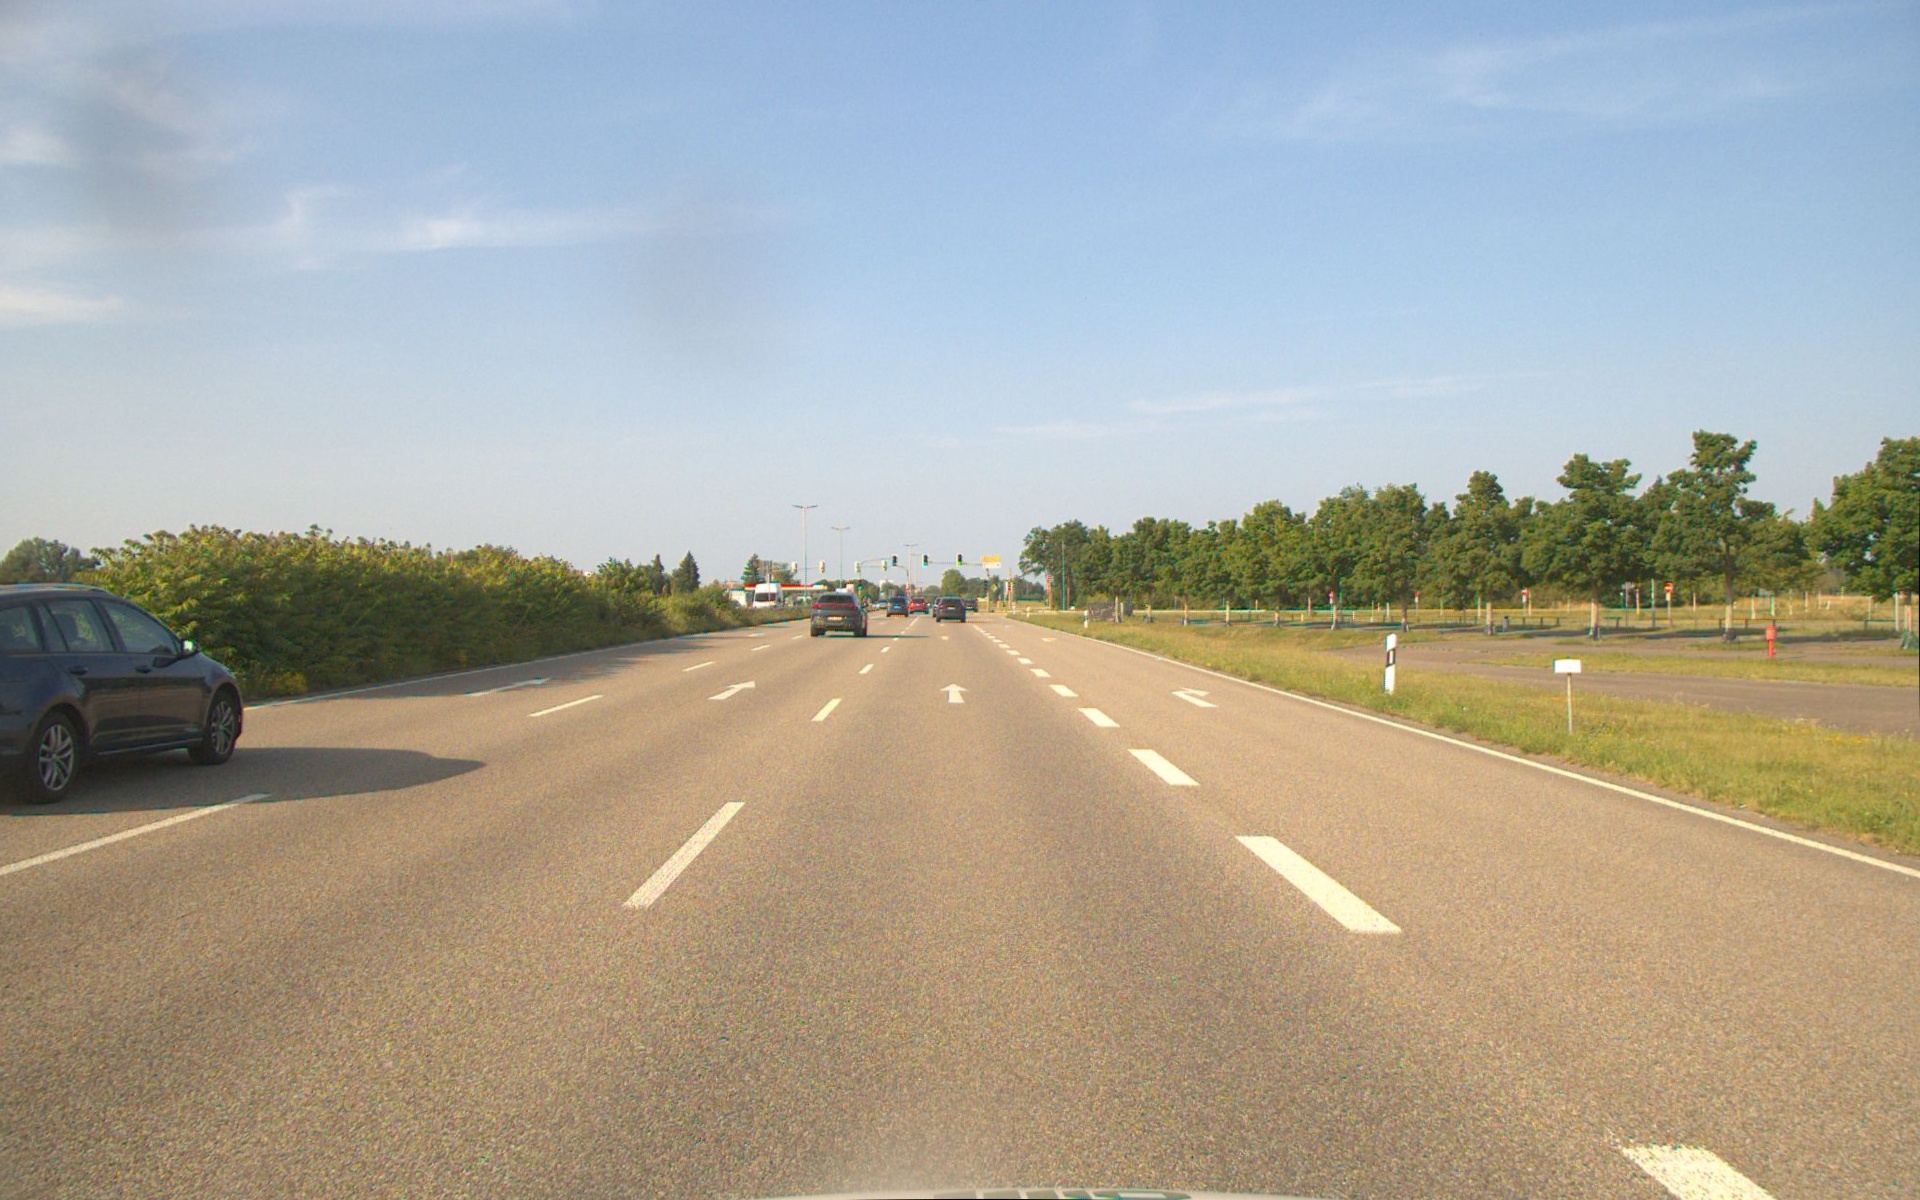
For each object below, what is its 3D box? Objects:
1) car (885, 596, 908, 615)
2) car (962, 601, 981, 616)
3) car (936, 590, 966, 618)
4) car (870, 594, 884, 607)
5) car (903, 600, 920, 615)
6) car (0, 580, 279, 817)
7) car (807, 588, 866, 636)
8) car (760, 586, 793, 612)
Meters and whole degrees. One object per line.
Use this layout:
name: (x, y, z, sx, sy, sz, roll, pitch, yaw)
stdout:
car: (-5.293, 0.427, 137.619, 1.776, 1.488, 4.400, 2, 0, -1)
car: (1.309, 0.955, 191.050, 1.907, 1.665, 3.445, 1, -1, -3)
car: (-0.592, 0.246, 109.039, 1.893, 1.709, 4.400, 2, 0, -1)
car: (-10.787, 0.047, 215.240, 1.567, 1.559, 3.999, 2, 0, -1)
car: (-4.896, 0.734, 166.759, 1.614, 1.489, 3.980, 2, 0, -1)
car: (-6.898, 0.621, 12.471, 1.613, 1.497, 4.775, 0, 0, -1)
car: (-4.435, 0.410, 59.908, 1.808, 1.640, 4.400, 2, 0, -1)
car: (-15.132, -0.056, 136.906, 2.118, 2.071, 6.321, 1, -1, -1)
